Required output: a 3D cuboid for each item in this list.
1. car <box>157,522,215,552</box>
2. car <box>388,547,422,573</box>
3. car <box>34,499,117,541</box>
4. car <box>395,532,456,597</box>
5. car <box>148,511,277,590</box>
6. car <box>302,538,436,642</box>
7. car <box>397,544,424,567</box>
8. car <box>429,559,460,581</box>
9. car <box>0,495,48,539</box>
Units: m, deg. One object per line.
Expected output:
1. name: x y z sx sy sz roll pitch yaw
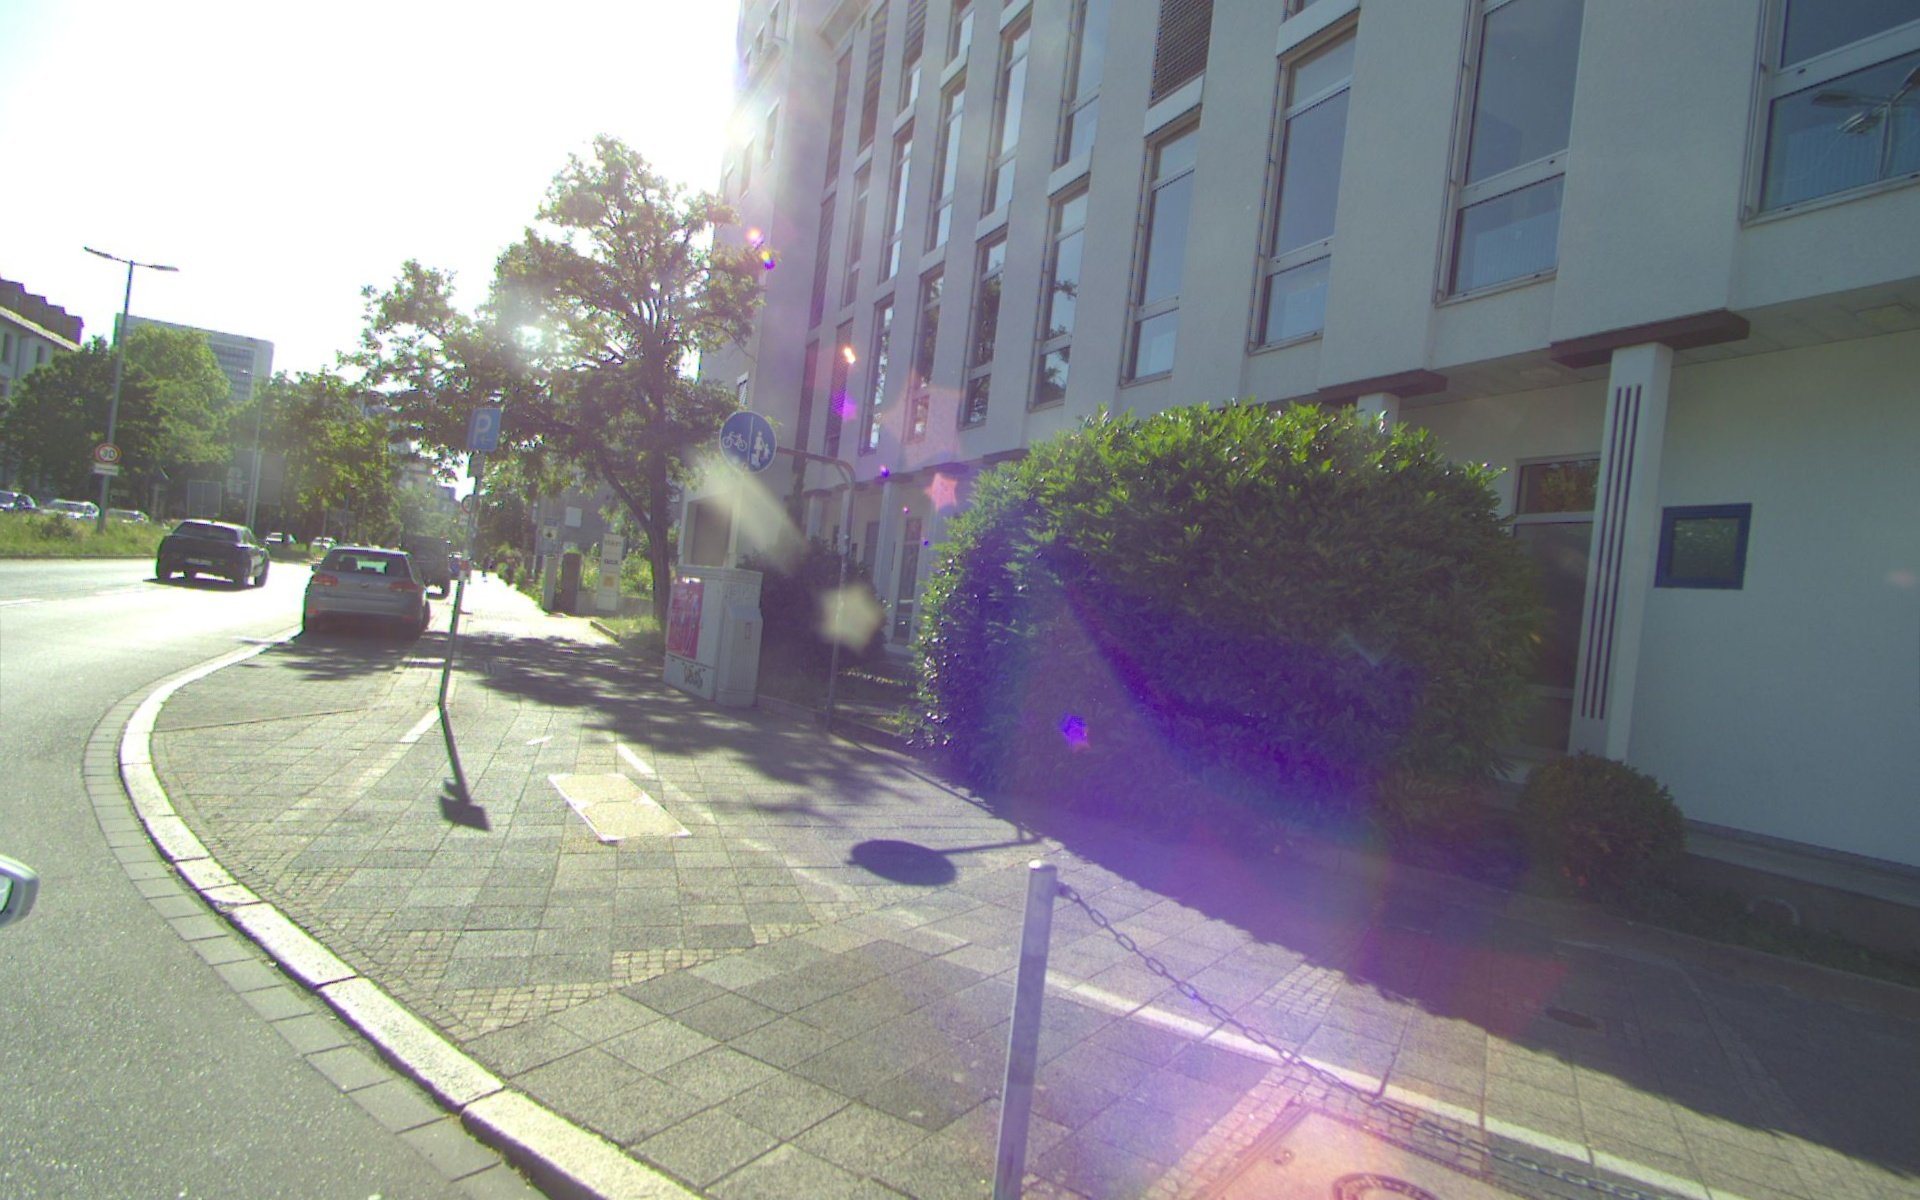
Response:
1. car: -49.269 -4.001 64.109 1.822 1.537 4.639 7 -1 -25
2. car: -38.665 -2.754 70.153 1.777 1.538 3.825 8 -2 -26
3. car: -41.279 -3.694 47.071 1.780 1.537 4.230 7 -1 -27
4. car: -19.393 -1.269 36.655 1.645 2.038 4.747 6 -1 -26
5. car: -18.820 -1.233 25.517 1.881 1.536 3.972 9 -2 -28
6. car: -10.532 -0.259 18.164 1.623 1.466 4.127 7 1 -26
7. car: -52.032 -4.201 95.348 1.945 1.904 3.973 7 -1 -27
8. car: -32.775 -1.930 63.998 1.652 1.198 3.874 4 1 -28
9. car: -37.897 -3.346 39.556 1.780 1.537 4.415 7 -1 -27
